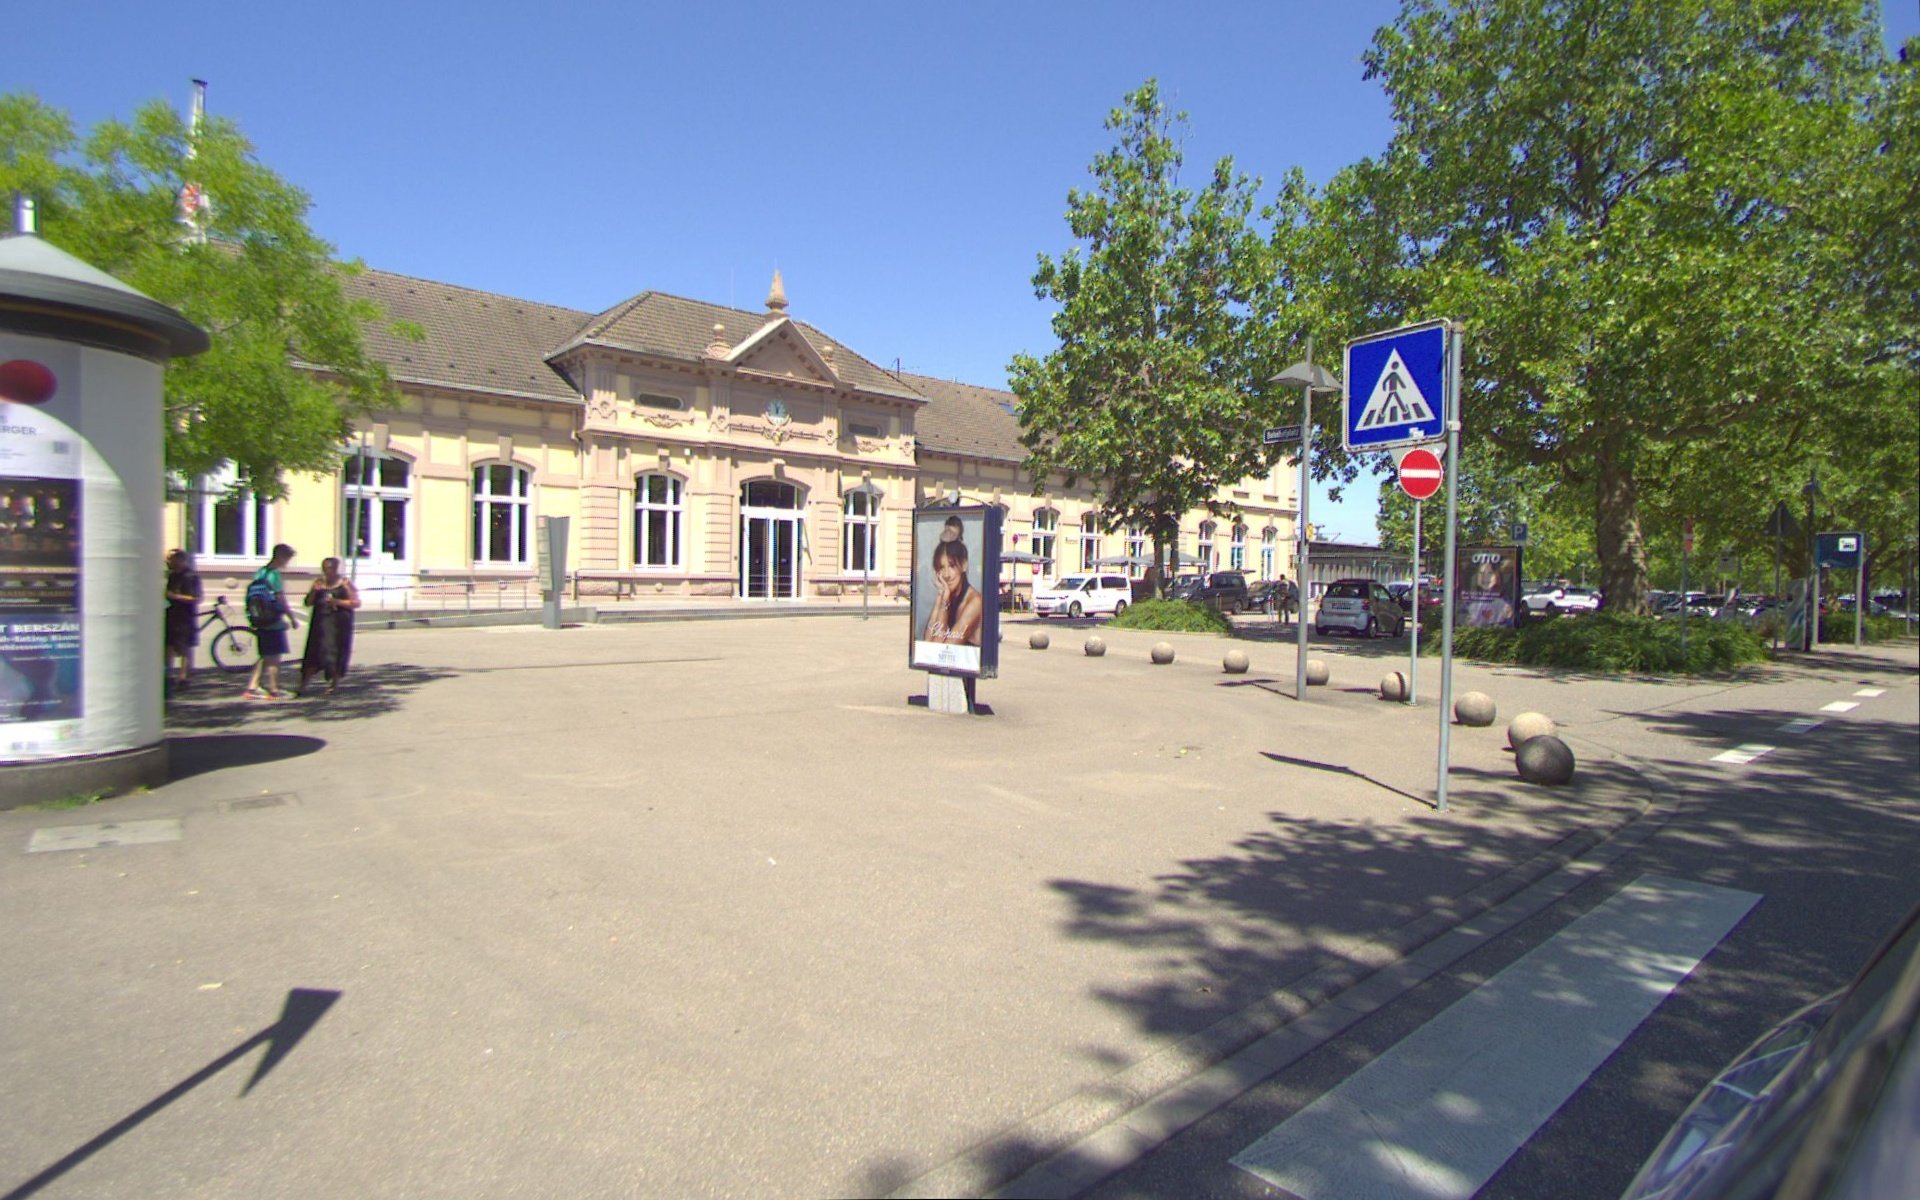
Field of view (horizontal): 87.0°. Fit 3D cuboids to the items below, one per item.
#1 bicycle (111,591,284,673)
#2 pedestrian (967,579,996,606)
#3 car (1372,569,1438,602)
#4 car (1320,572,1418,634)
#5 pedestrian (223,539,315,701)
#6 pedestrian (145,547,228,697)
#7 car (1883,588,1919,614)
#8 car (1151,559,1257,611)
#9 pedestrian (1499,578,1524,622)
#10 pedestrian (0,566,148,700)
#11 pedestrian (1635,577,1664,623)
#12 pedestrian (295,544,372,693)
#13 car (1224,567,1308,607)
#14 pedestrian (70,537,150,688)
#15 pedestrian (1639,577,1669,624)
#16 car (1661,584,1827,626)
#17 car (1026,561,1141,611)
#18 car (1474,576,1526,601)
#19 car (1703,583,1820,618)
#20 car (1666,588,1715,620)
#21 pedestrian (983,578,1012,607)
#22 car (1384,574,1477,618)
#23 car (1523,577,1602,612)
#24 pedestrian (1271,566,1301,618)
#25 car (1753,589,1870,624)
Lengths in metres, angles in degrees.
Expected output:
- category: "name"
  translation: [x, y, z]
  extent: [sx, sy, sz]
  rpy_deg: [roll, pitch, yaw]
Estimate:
- category: "bicycle"
  translation: [-10.731, 0.426, 14.303]
  extent: [1.916, 1.073, 0.420]
  rpy_deg: [-1, 2, -44]
- category: "pedestrian"
  translation: [0.929, -0.311, 43.372]
  extent: [0.879, 1.093, 0.838]
  rpy_deg: [4, 3, 44]
- category: "car"
  translation: [26.265, -0.819, 59.622]
  extent: [1.997, 1.863, 5.236]
  rpy_deg: [0, 0, 43]
- category: "car"
  translation: [11.437, 0.046, 28.232]
  extent: [1.596, 1.613, 3.059]
  rpy_deg: [2, 2, 42]
- category: "pedestrian"
  translation: [-7.904, 0.212, 11.580]
  extent: [0.685, 1.786, 0.581]
  rpy_deg: [1, 1, 21]
- category: "pedestrian"
  translation: [-9.399, 0.245, 12.306]
  extent: [0.578, 1.761, 0.595]
  rpy_deg: [1, 1, 23]
- category: "car"
  translation: [57.515, 0.065, 60.026]
  extent: [3.852, 1.478, 1.616]
  rpy_deg: [2, 2, 36]
- category: "car"
  translation: [10.980, -0.623, 45.308]
  extent: [2.086, 2.151, 5.735]
  rpy_deg: [1, 0, 43]
- category: "pedestrian"
  translation: [19.997, -0.011, 36.700]
  extent: [0.581, 1.567, 0.608]
  rpy_deg: [2, 1, 13]
- category: "pedestrian"
  translation: [-9.876, 0.333, 11.292]
  extent: [0.901, 1.403, 0.938]
  rpy_deg: [1, 1, 19]
- category: "pedestrian"
  translation: [27.328, -0.010, 40.117]
  extent: [0.832, 1.792, 0.843]
  rpy_deg: [2, 1, 30]
- category: "pedestrian"
  translation: [-7.636, 0.204, 12.343]
  extent: [0.621, 1.761, 0.544]
  rpy_deg: [1, 1, 23]
- category: "car"
  translation: [15.088, -0.600, 49.748]
  extent: [2.073, 1.863, 4.765]
  rpy_deg: [1, 0, 43]
- category: "pedestrian"
  translation: [-10.184, 0.136, 12.134]
  extent: [0.505, 1.761, 0.567]
  rpy_deg: [1, 1, 19]
- category: "pedestrian"
  translation: [26.876, -0.004, 39.192]
  extent: [0.831, 1.792, 0.843]
  rpy_deg: [1, 1, 28]
- category: "car"
  translation: [29.735, 0.148, 38.599]
  extent: [4.737, 1.434, 1.768]
  rpy_deg: [2, 1, 30]
- category: "car"
  translation: [5.019, -0.511, 40.515]
  extent: [5.054, 1.889, 1.810]
  rpy_deg: [1, 0, -44]
- category: "car"
  translation: [39.893, -0.854, 74.688]
  extent: [4.174, 1.812, 1.997]
  rpy_deg: [-1, 0, -41]
- category: "car"
  translation: [36.536, 0.011, 46.224]
  extent: [3.829, 1.478, 1.625]
  rpy_deg: [2, 1, 21]
- category: "car"
  translation: [46.369, 0.197, 64.286]
  extent: [1.720, 1.917, 3.967]
  rpy_deg: [2, 1, 25]
- category: "pedestrian"
  translation: [1.585, -0.305, 42.699]
  extent: [0.879, 1.176, 0.838]
  rpy_deg: [4, 3, 44]
- category: "car"
  translation: [19.006, -0.217, 41.087]
  extent: [1.767, 1.562, 4.530]
  rpy_deg: [0, 3, 2]
- category: "car"
  translation: [30.984, -0.319, 52.155]
  extent: [1.768, 1.624, 4.062]
  rpy_deg: [0, 3, 3]
- category: "pedestrian"
  translation: [11.081, -0.266, 34.425]
  extent: [0.759, 1.738, 0.815]
  rpy_deg: [1, 1, 2]
- category: "car"
  translation: [40.171, 0.277, 47.828]
  extent: [3.829, 1.478, 1.625]
  rpy_deg: [2, 1, 21]
